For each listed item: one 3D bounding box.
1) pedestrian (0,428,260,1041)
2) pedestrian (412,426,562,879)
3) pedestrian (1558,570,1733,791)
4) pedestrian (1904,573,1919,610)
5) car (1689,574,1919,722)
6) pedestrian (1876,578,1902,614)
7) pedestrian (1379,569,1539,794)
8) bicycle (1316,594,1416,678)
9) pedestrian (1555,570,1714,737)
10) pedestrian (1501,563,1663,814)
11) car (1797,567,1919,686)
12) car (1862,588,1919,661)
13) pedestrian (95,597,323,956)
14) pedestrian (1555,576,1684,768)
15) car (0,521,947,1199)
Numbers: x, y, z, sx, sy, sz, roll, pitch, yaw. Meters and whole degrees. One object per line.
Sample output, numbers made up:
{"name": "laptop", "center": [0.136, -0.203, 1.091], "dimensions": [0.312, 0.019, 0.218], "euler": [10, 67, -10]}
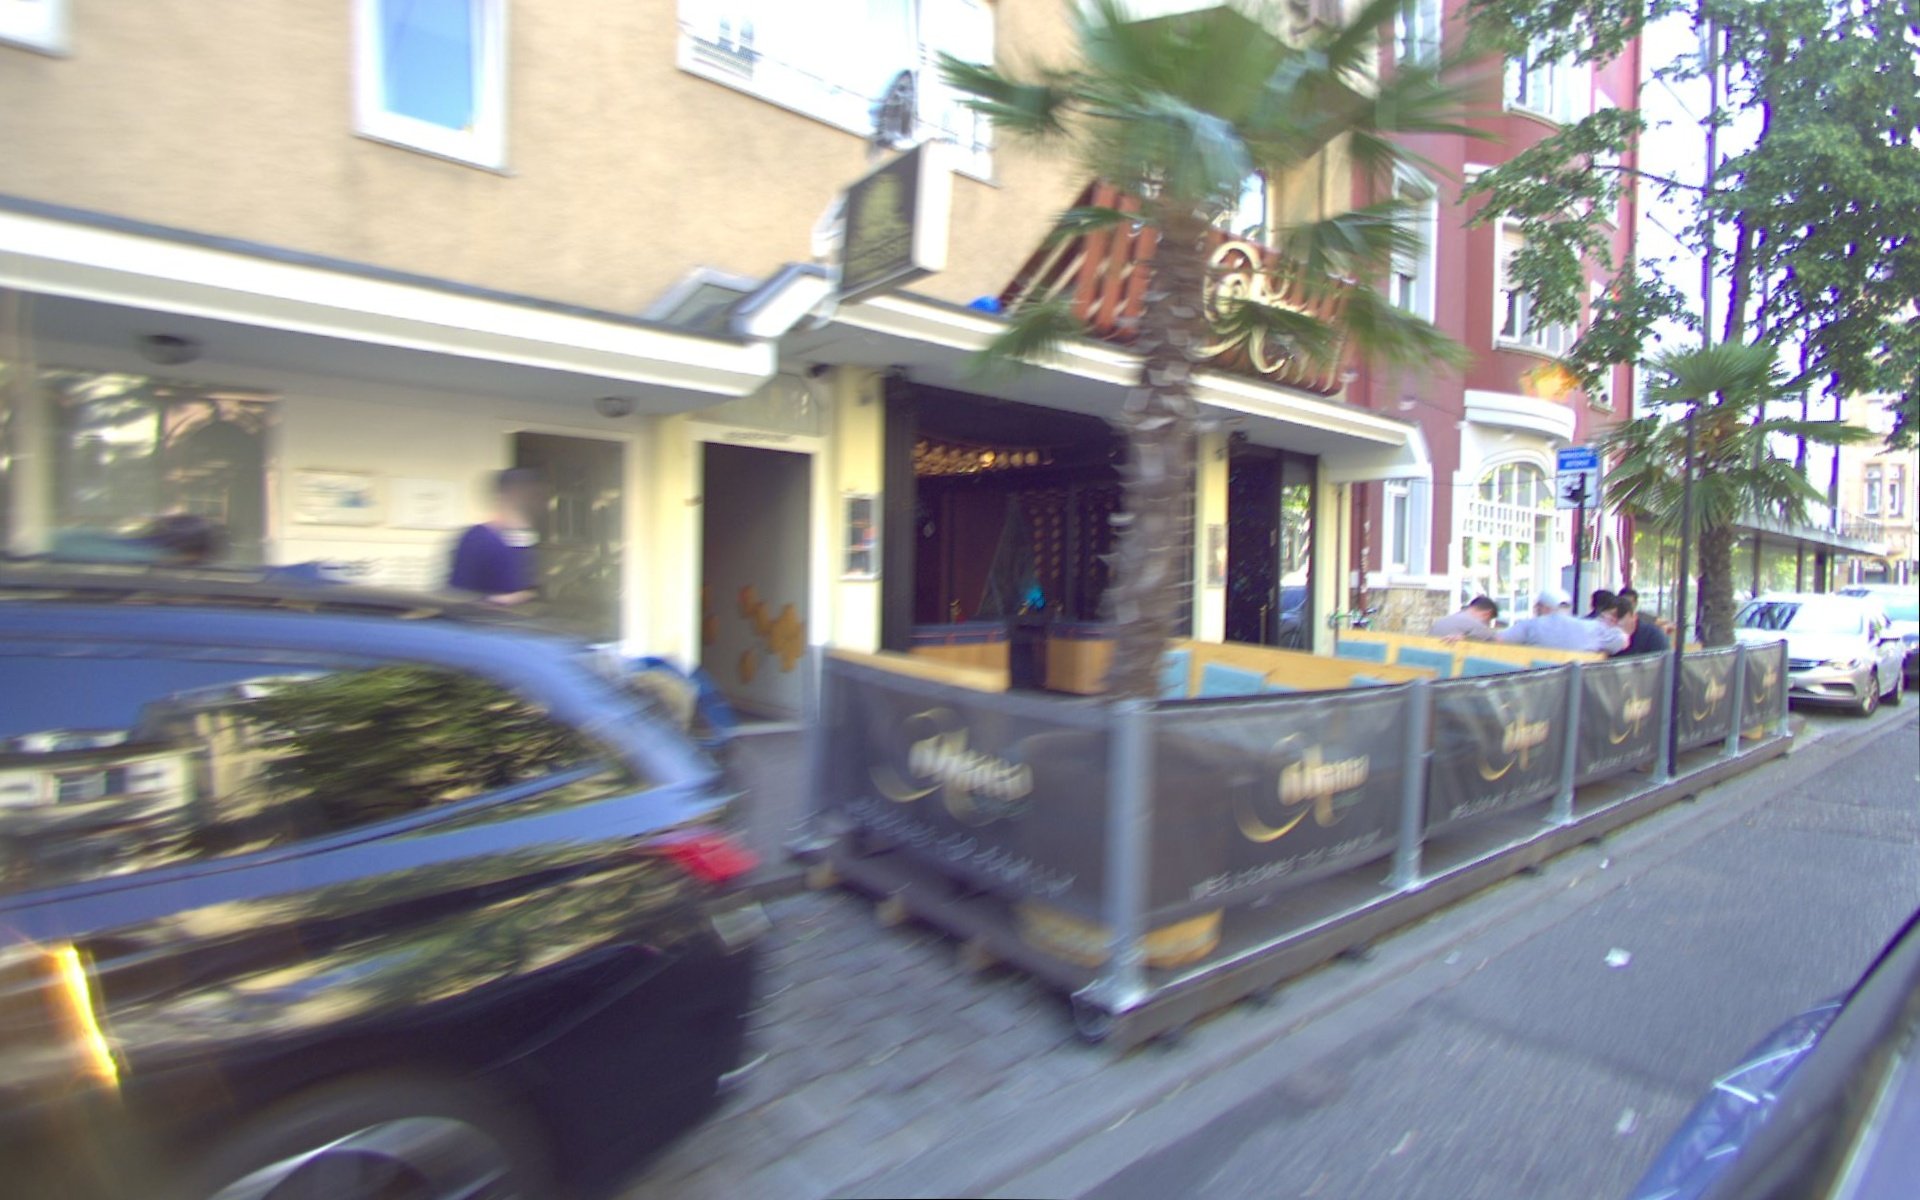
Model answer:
{"name": "pedestrian", "center": [-2.687, 0.368, 3.168], "dimensions": [0.747, 1.716, 0.619], "euler": [0, 2, -29]}
{"name": "pedestrian", "center": [-1.987, 0.192, 4.226], "dimensions": [0.493, 1.716, 0.631], "euler": [0, 2, -31]}
{"name": "pedestrian", "center": [5.182, 0.562, 7.674], "dimensions": [0.791, 1.555, 0.753], "euler": [1, 2, -26]}
{"name": "pedestrian", "center": [45.381, -0.393, 47.952], "dimensions": [0.663, 1.712, 0.619], "euler": [1, 3, 4]}
{"name": "car", "center": [11.909, 0.536, 13.990], "dimensions": [4.756, 1.615, 1.827], "euler": [0, 4, -41]}
{"name": "pedestrian", "center": [45.249, -0.206, 49.285], "dimensions": [0.701, 1.713, 0.621], "euler": [0, 1, -13]}
{"name": "pedestrian", "center": [3.693, 0.560, 7.519], "dimensions": [0.753, 1.555, 0.715], "euler": [1, 2, -26]}
{"name": "bicycle", "center": [5.314, 0.438, 13.194], "dimensions": [1.671, 1.014, 0.475], "euler": [0, 2, -41]}
{"name": "pedestrian", "center": [6.823, 0.494, 10.258], "dimensions": [0.875, 1.555, 1.060], "euler": [0, 2, -36]}
{"name": "pedestrian", "center": [4.213, 0.538, 6.844], "dimensions": [0.963, 1.555, 0.651], "euler": [0, 2, -42]}
{"name": "car", "center": [16.772, 0.410, 17.919], "dimensions": [4.838, 1.799, 1.828], "euler": [0, 4, -37]}
{"name": "car", "center": [21.462, 0.527, 22.156], "dimensions": [4.756, 1.419, 1.827], "euler": [0, 4, -40]}
{"name": "pedestrian", "center": [-2.636, 0.589, 3.588], "dimensions": [0.491, 1.177, 0.445], "euler": [1, 1, -7]}
{"name": "pedestrian", "center": [5.708, 0.580, 8.763], "dimensions": [0.762, 1.555, 0.694], "euler": [0, 2, -39]}
{"name": "car", "center": [-2.475, 0.615, 1.445], "dimensions": [4.825, 1.489, 1.827], "euler": [0, 4, -41]}
